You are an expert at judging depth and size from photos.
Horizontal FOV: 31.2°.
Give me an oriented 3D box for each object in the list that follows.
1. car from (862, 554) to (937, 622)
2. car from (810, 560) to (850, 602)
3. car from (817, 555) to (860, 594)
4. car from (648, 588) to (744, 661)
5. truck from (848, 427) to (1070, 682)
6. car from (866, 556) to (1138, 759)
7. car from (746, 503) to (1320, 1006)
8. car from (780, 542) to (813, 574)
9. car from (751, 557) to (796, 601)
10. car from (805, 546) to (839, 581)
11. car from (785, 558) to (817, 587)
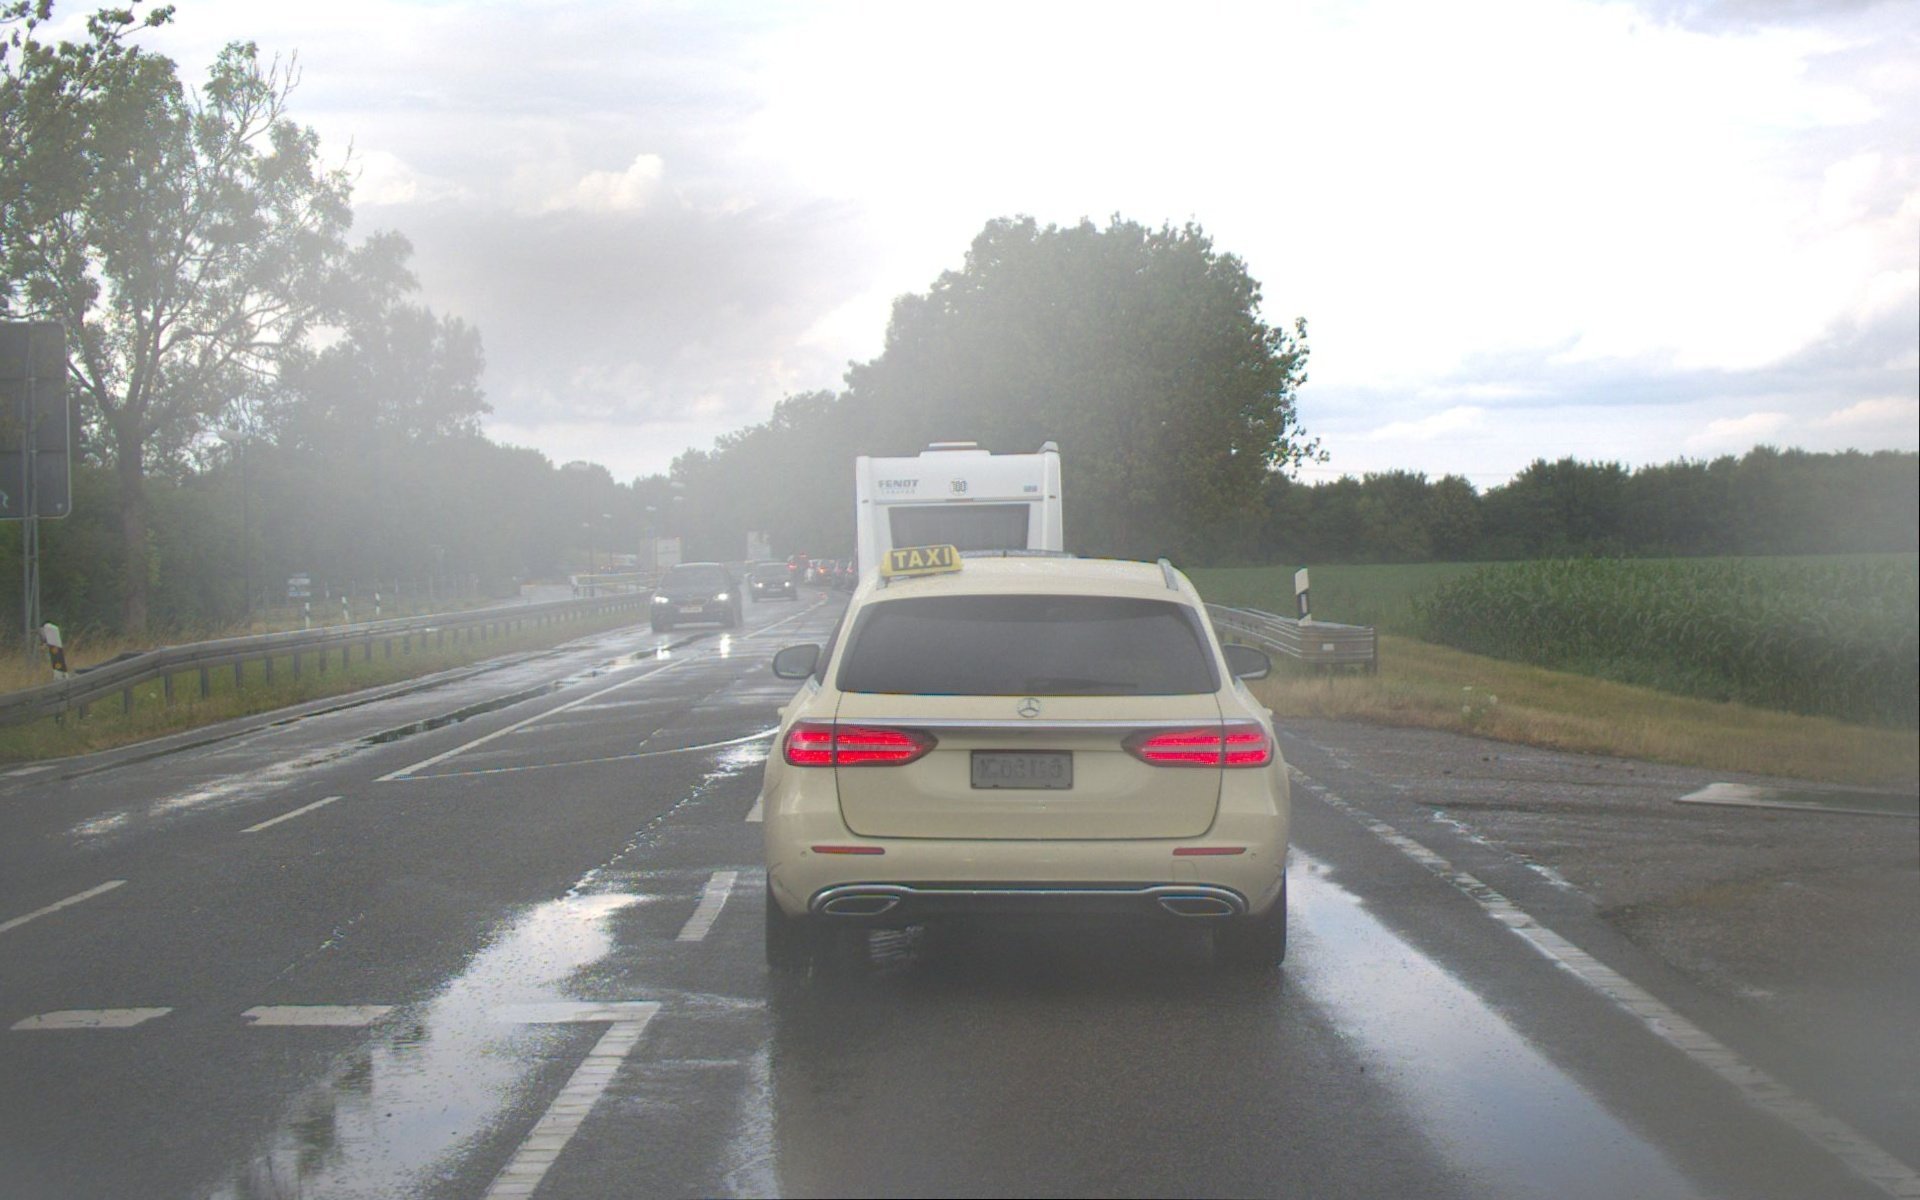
[{"bbox_3d":[-1.671,-0.362,96.465,1.915,1.834,3.795,-1,1,1],"label":"car"},{"bbox_3d":[-6.377,-0.927,169.133,1.852,2.007,3.811,-1,1,-1],"label":"car"},{"bbox_3d":[-5.649,-1.191,160.361,1.879,1.755,3.834,-1,1,-1],"label":"car"},{"bbox_3d":[-5.939,0.537,77.702,1.828,1.568,4.000,1,0,0],"label":"car"},{"bbox_3d":[-0.052,-0.547,41.082,2.363,2.719,7.314,-1,1,-1],"label":"truck"},{"bbox_3d":[0.291,0.414,27.744,1.993,1.457,4.000,2,0,-1],"label":"car"},{"bbox_3d":[0.213,0.476,13.076,1.842,1.612,4.000,0,1,-1],"label":"car"},{"bbox_3d":[-9.964,-2.571,209.143,1.895,1.888,3.844,-1,1,-4],"label":"car"},{"bbox_3d":[-7.096,-0.823,131.004,1.580,1.634,3.442,-1,1,-1],"label":"car"},{"bbox_3d":[-7.653,-2.043,191.204,1.740,1.853,3.785,-1,1,-1],"label":"car"},{"bbox_3d":[-9.265,-1.599,200.258,1.748,1.656,3.673,-1,1,-4],"label":"car"}]
